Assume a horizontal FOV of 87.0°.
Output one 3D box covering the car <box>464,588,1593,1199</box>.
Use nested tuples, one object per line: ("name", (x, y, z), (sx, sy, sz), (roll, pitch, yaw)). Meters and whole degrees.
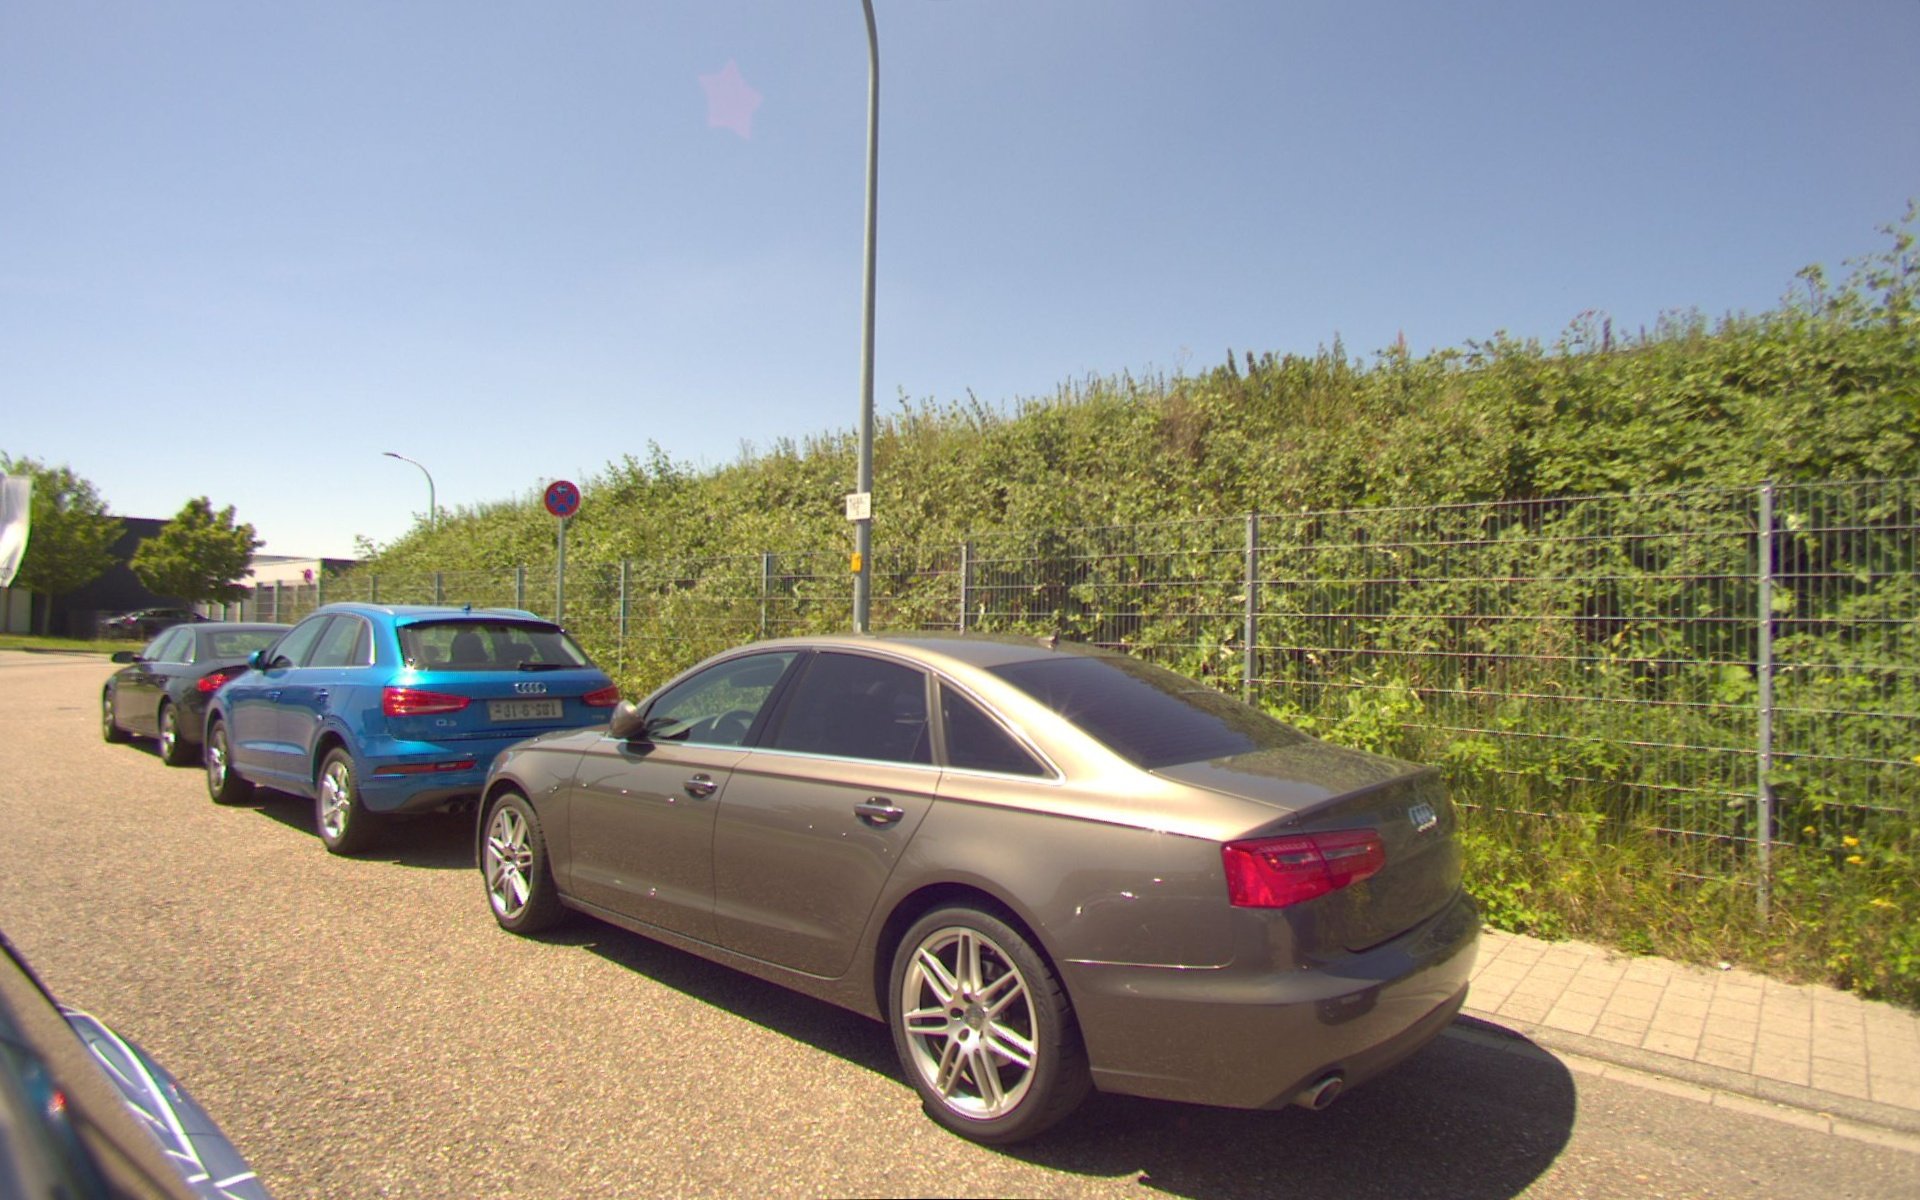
("car", (-0.156, 0.786, 4.211), (4.518, 1.511, 1.805), (-1, -3, 41))

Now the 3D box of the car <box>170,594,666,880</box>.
("car", (-4.309, 0.808, 7.727), (4.383, 1.582, 1.806), (-1, -3, 40))

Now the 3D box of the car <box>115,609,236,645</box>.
("car", (-36.925, 1.251, 47.692), (1.779, 1.613, 4.226), (0, -1, 40))

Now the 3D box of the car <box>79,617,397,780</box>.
("car", (-8.266, 0.960, 11.421), (4.577, 1.466, 1.806), (0, -3, 40))

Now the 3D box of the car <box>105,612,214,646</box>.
("car", (-41.741, 1.523, 52.845), (1.779, 1.579, 4.116), (-1, -4, 40))
